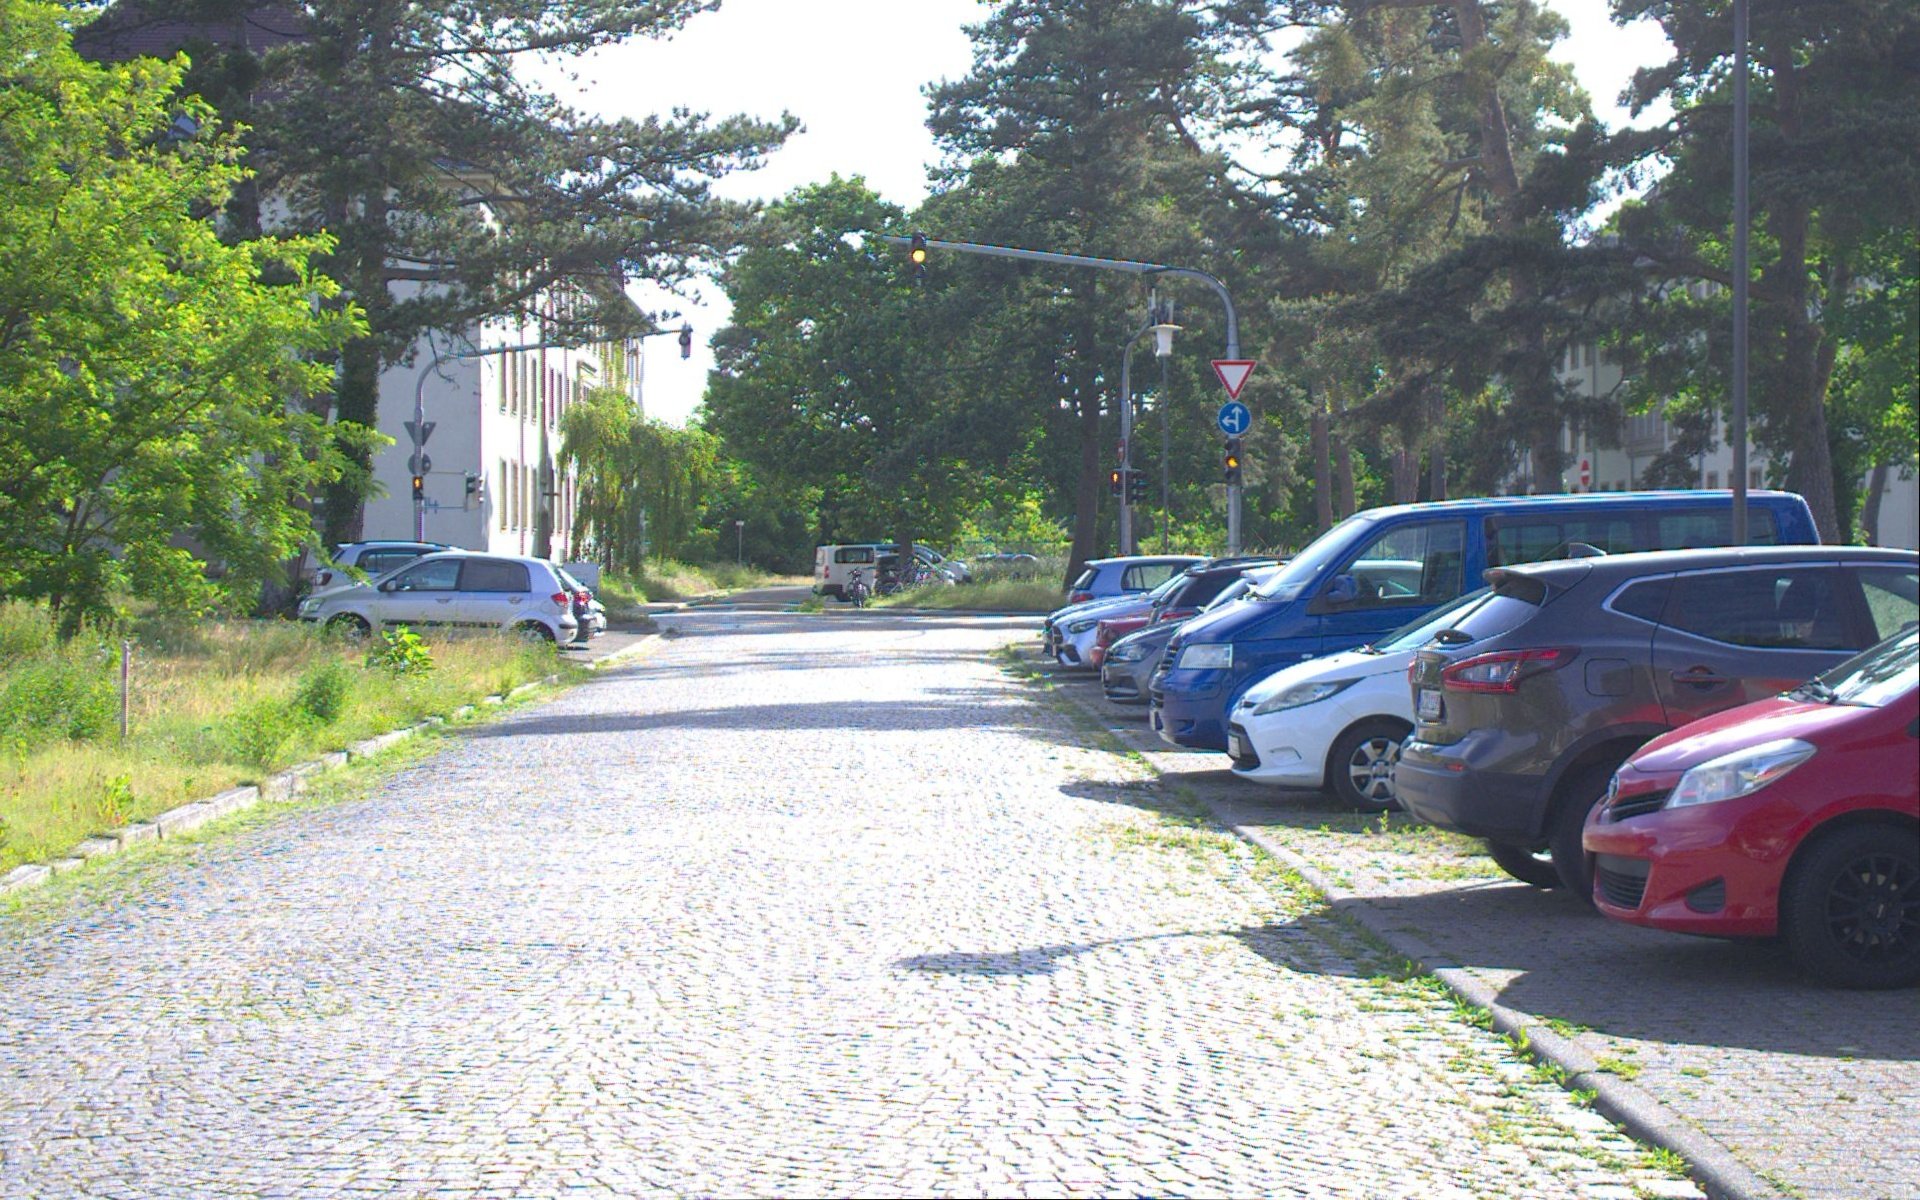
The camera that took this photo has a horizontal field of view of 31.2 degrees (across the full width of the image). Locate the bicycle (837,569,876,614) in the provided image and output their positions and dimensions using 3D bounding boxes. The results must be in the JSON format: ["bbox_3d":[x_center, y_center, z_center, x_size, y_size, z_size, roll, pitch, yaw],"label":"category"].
[{"bbox_3d":[-2.824,-0.249,93.687,0.804,1.165,2.181,-2,1,-7],"label":"bicycle"}]

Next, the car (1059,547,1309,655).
[{"bbox_3d":[3.115,0.004,48.254,3.343,1.477,1.646,0,1,-3],"label":"car"}]

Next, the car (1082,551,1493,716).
[{"bbox_3d":[3.072,0.299,32.689,3.675,1.462,1.646,-1,1,-3],"label":"car"}]

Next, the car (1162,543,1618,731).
[{"bbox_3d":[3.673,0.300,29.812,3.694,1.461,1.645,-2,1,-1],"label":"car"}]

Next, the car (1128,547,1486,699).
[{"bbox_3d":[3.555,0.219,35.618,3.477,1.524,1.646,0,1,-3],"label":"car"}]

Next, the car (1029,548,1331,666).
[{"bbox_3d":[2.889,0.072,45.609,3.835,1.524,1.646,0,1,-3],"label":"car"}]

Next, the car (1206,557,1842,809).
[{"bbox_3d":[3.535,0.493,21.953,3.718,1.483,1.646,-1,1,-4],"label":"car"}]

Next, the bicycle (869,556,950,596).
[{"bbox_3d":[-1.420,-0.670,97.170,2.172,1.096,0.807,0,1,-11],"label":"bicycle"}]

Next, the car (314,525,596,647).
[{"bbox_3d":[-7.691,-0.226,52.658,3.986,1.596,2.000,3,1,-2],"label":"car"}]

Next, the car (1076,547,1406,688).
[{"bbox_3d":[3.096,0.172,38.301,3.477,1.524,1.646,0,1,-3],"label":"car"}]

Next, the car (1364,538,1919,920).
[{"bbox_3d":[3.927,0.529,15.540,3.935,1.616,1.772,0,1,-3],"label":"car"}]

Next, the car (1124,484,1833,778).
[{"bbox_3d":[3.625,0.188,24.630,4.676,2.007,2.084,0,1,-4],"label":"car"}]

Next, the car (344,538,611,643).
[{"bbox_3d":[-7.690,-0.165,55.061,3.986,1.448,2.000,3,1,-2],"label":"car"}]

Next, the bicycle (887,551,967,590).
[{"bbox_3d":[-0.955,-0.847,98.669,2.172,1.096,0.807,0,1,-11],"label":"bicycle"}]

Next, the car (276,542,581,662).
[{"bbox_3d":[-7.254,0.008,47.278,3.986,1.595,2.000,0,1,-4],"label":"car"}]

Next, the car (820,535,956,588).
[{"bbox_3d":[-2.427,-1.282,114.621,4.480,1.722,2.000,1,1,-2],"label":"car"}]

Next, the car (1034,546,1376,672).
[{"bbox_3d":[3.021,0.096,42.840,4.033,1.524,1.646,0,1,-5],"label":"car"}]

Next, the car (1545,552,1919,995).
[{"bbox_3d":[4.226,0.587,12.822,3.762,1.525,1.646,0,1,-3],"label":"car"}]
